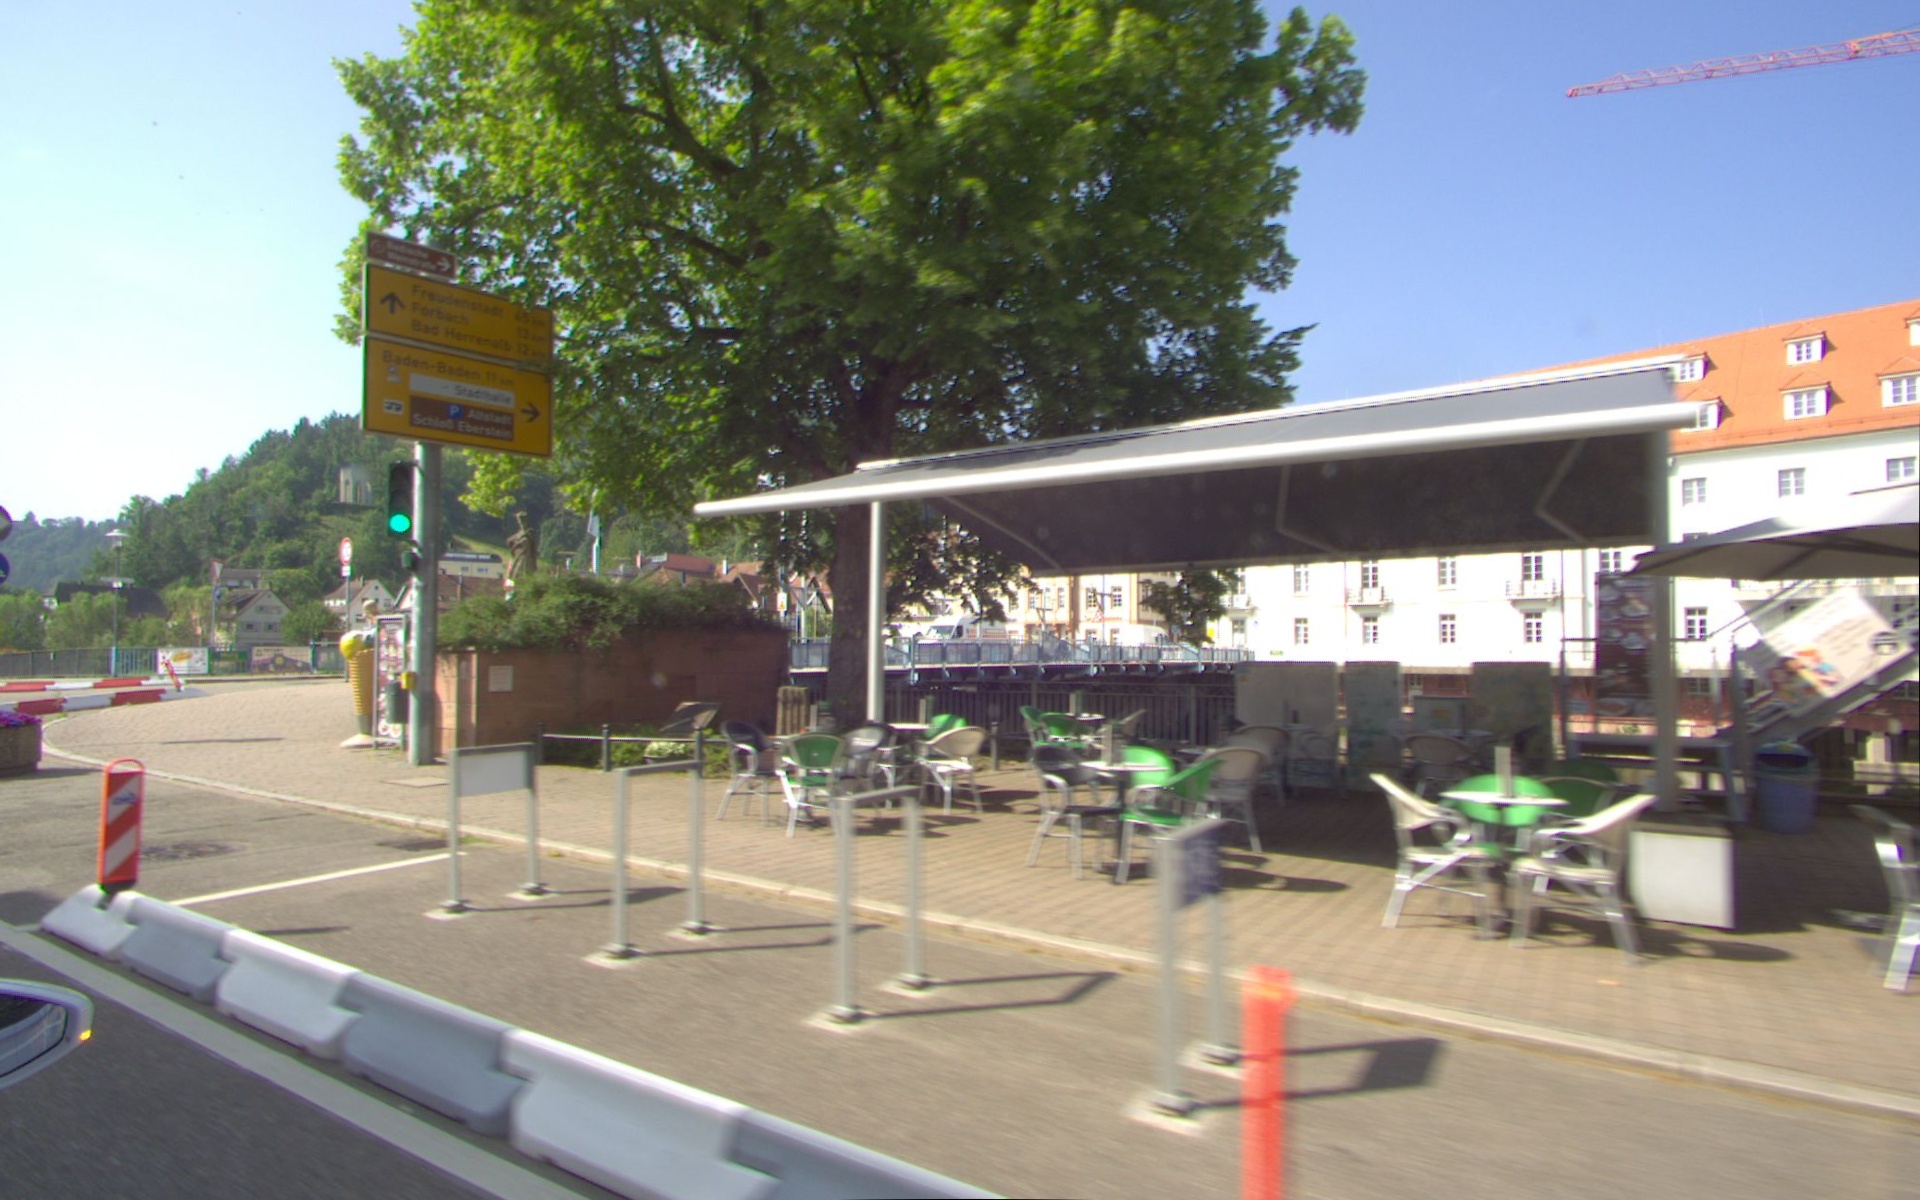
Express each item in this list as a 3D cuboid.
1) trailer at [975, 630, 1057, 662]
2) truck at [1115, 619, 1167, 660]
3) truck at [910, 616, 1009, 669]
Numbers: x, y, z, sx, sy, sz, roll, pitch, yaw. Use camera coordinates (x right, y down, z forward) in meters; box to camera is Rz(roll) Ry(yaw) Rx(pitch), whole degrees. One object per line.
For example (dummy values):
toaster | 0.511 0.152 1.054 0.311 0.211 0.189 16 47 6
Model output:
trailer | 3.458 2.793 60.777 2.582 1.850 5.611 -2 -3 32
truck | 12.081 2.680 66.689 1.842 2.617 4.238 -1 -3 34
truck | 0.082 2.263 55.315 2.081 2.733 7.099 -2 -2 31
